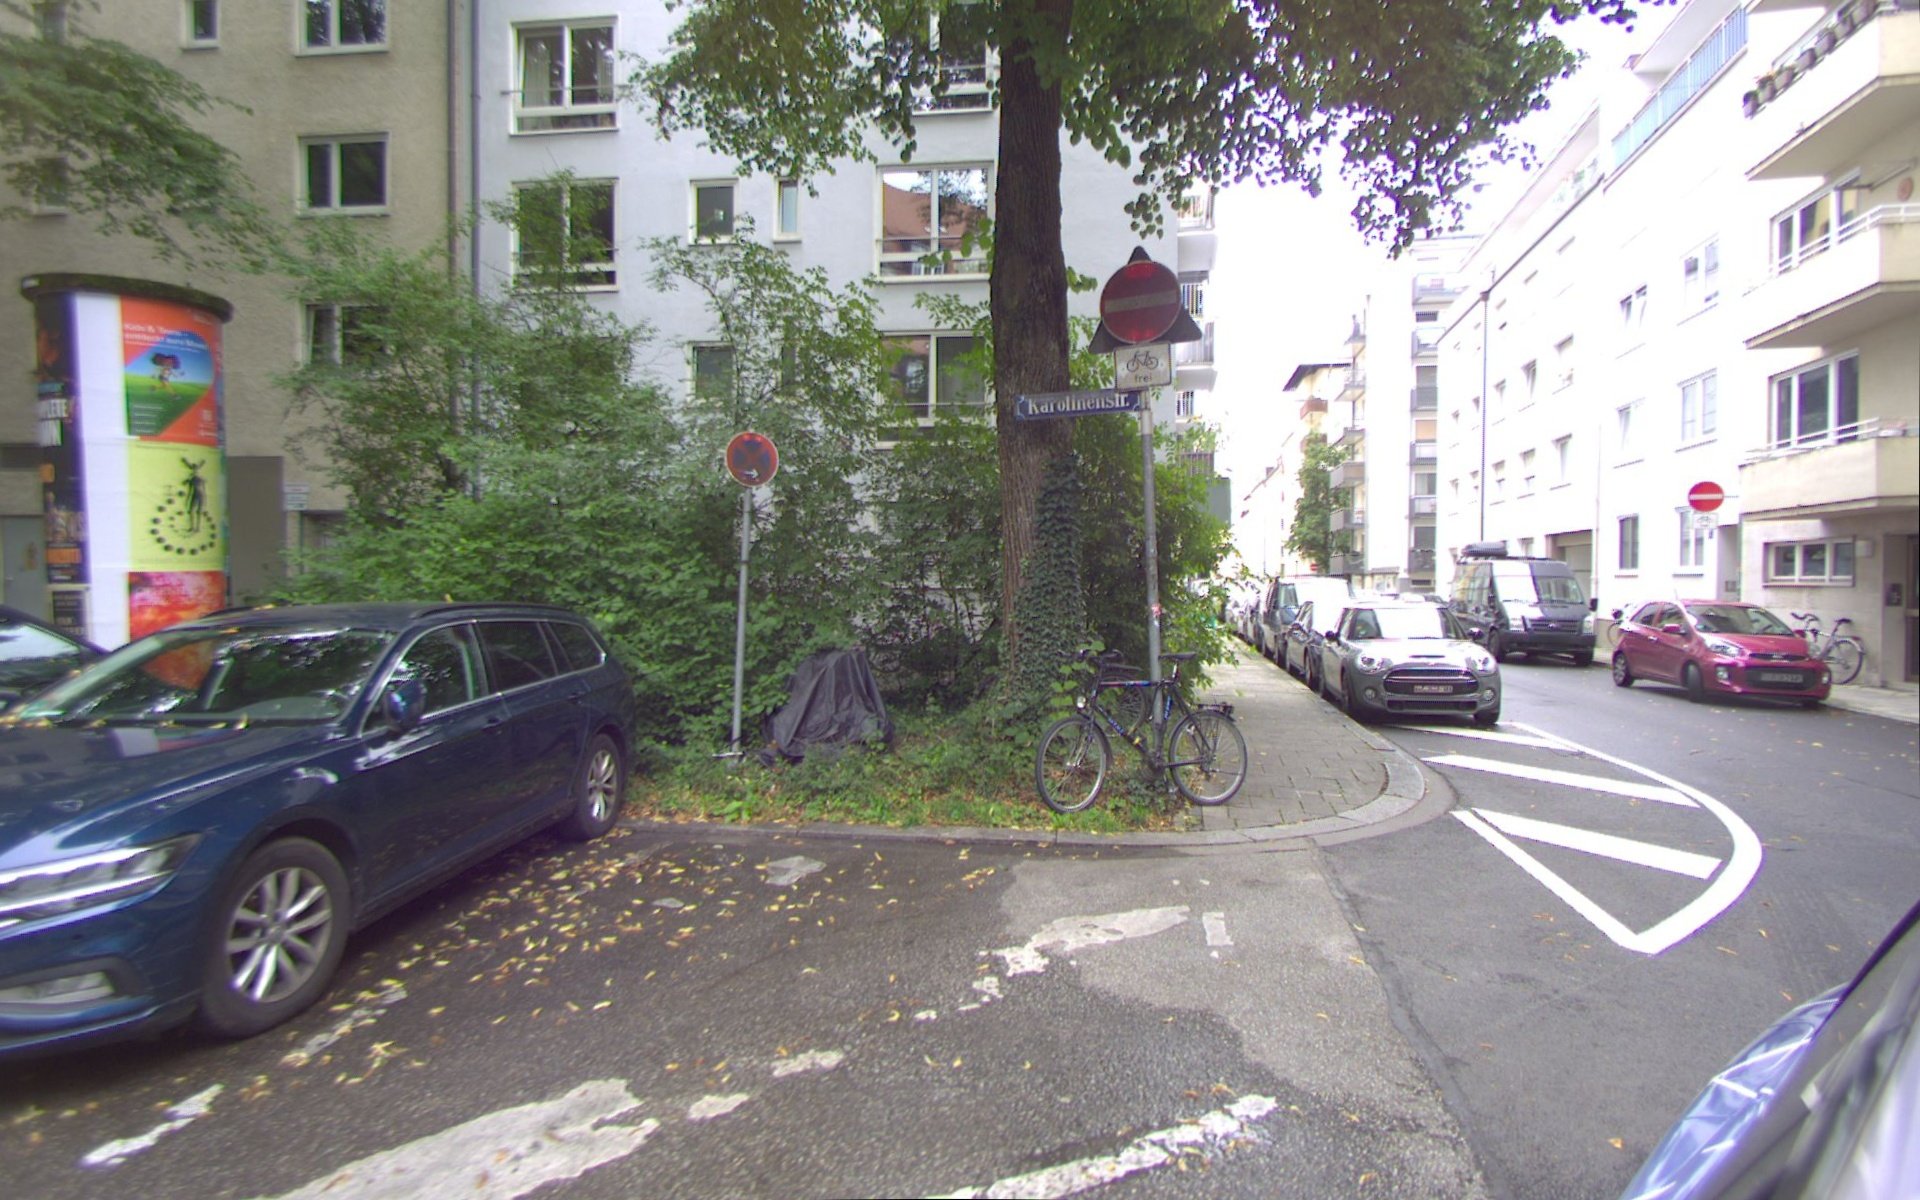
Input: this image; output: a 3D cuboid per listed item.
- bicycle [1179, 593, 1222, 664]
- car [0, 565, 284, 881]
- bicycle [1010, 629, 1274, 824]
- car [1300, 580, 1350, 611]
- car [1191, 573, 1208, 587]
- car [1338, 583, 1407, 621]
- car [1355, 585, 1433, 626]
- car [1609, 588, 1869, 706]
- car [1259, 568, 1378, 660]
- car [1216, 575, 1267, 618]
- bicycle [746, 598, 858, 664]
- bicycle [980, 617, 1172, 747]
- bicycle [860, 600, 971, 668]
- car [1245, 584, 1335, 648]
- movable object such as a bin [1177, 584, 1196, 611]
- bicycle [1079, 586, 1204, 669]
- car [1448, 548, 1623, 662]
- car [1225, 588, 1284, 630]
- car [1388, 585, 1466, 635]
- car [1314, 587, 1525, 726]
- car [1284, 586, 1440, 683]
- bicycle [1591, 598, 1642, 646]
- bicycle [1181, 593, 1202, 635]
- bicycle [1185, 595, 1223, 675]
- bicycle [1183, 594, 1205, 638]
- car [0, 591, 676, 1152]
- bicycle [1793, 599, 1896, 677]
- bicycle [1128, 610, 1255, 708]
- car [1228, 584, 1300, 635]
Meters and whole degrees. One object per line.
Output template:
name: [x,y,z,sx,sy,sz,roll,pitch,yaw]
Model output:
bicycle: [4.474,0.501,18.916,0.615,1.235,2.242,0,1,9]
car: [-5.666,0.616,4.979,1.726,1.575,3.977,0,1,7]
bicycle: [1.243,0.802,6.864,1.736,1.152,0.556,0,1,-22]
car: [20.189,-0.300,56.094,1.943,1.627,4.525,0,1,12]
car: [28.804,-2.450,121.990,1.868,1.650,4.282,0,1,12]
car: [17.570,0.040,43.310,1.889,1.455,4.793,0,2,12]
car: [16.375,0.158,38.379,1.778,1.434,4.215,0,1,10]
car: [11.531,0.595,15.312,1.599,1.515,3.697,1,1,11]
car: [7.893,0.211,22.709,1.851,1.813,4.766,0,1,12]
car: [13.420,-0.215,48.488,1.958,1.862,5.167,-1,1,12]
bicycle: [-2.502,0.487,16.099,1.672,1.036,0.538,0,0,7]
bicycle: [1.000,0.702,8.932,1.603,1.069,0.606,0,0,-2]
bicycle: [-0.692,0.524,15.868,1.672,1.036,0.538,0,0,7]
car: [9.103,0.370,28.264,1.882,1.573,4.610,0,1,12]
movable object such as a bin: [9.992,-0.112,44.677,0.785,1.153,0.572,0,1,12]
bicycle: [2.754,0.412,15.454,1.821,1.245,0.577,0,0,6]
car: [13.265,0.017,23.768,1.994,2.307,5.371,2,2,13]
car: [10.978,0.289,37.973,1.712,1.447,4.190,0,1,11]
car: [15.566,0.298,33.882,1.593,1.464,3.728,3,2,14]
car: [5.756,0.588,13.166,1.722,1.459,3.984,1,1,13]
car: [6.866,0.507,17.702,1.810,1.437,4.045,1,1,11]
bicycle: [16.348,0.533,25.236,0.457,1.111,1.862,0,1,14]
bicycle: [6.786,0.393,29.665,0.563,1.165,1.558,0,1,12]
bicycle: [4.002,0.541,16.687,0.553,1.235,1.910,0,0,12]
bicycle: [6.486,0.433,28.095,0.563,1.165,1.426,0,1,12]
car: [-3.146,0.686,5.042,1.924,1.394,4.730,0,1,3]
bicycle: [14.180,0.573,16.276,0.462,1.163,1.753,0,1,13]
bicycle: [2.760,0.677,12.217,0.443,1.069,1.635,-1,1,-34]
car: [9.909,0.267,33.263,1.737,1.449,4.249,-3,1,10]
